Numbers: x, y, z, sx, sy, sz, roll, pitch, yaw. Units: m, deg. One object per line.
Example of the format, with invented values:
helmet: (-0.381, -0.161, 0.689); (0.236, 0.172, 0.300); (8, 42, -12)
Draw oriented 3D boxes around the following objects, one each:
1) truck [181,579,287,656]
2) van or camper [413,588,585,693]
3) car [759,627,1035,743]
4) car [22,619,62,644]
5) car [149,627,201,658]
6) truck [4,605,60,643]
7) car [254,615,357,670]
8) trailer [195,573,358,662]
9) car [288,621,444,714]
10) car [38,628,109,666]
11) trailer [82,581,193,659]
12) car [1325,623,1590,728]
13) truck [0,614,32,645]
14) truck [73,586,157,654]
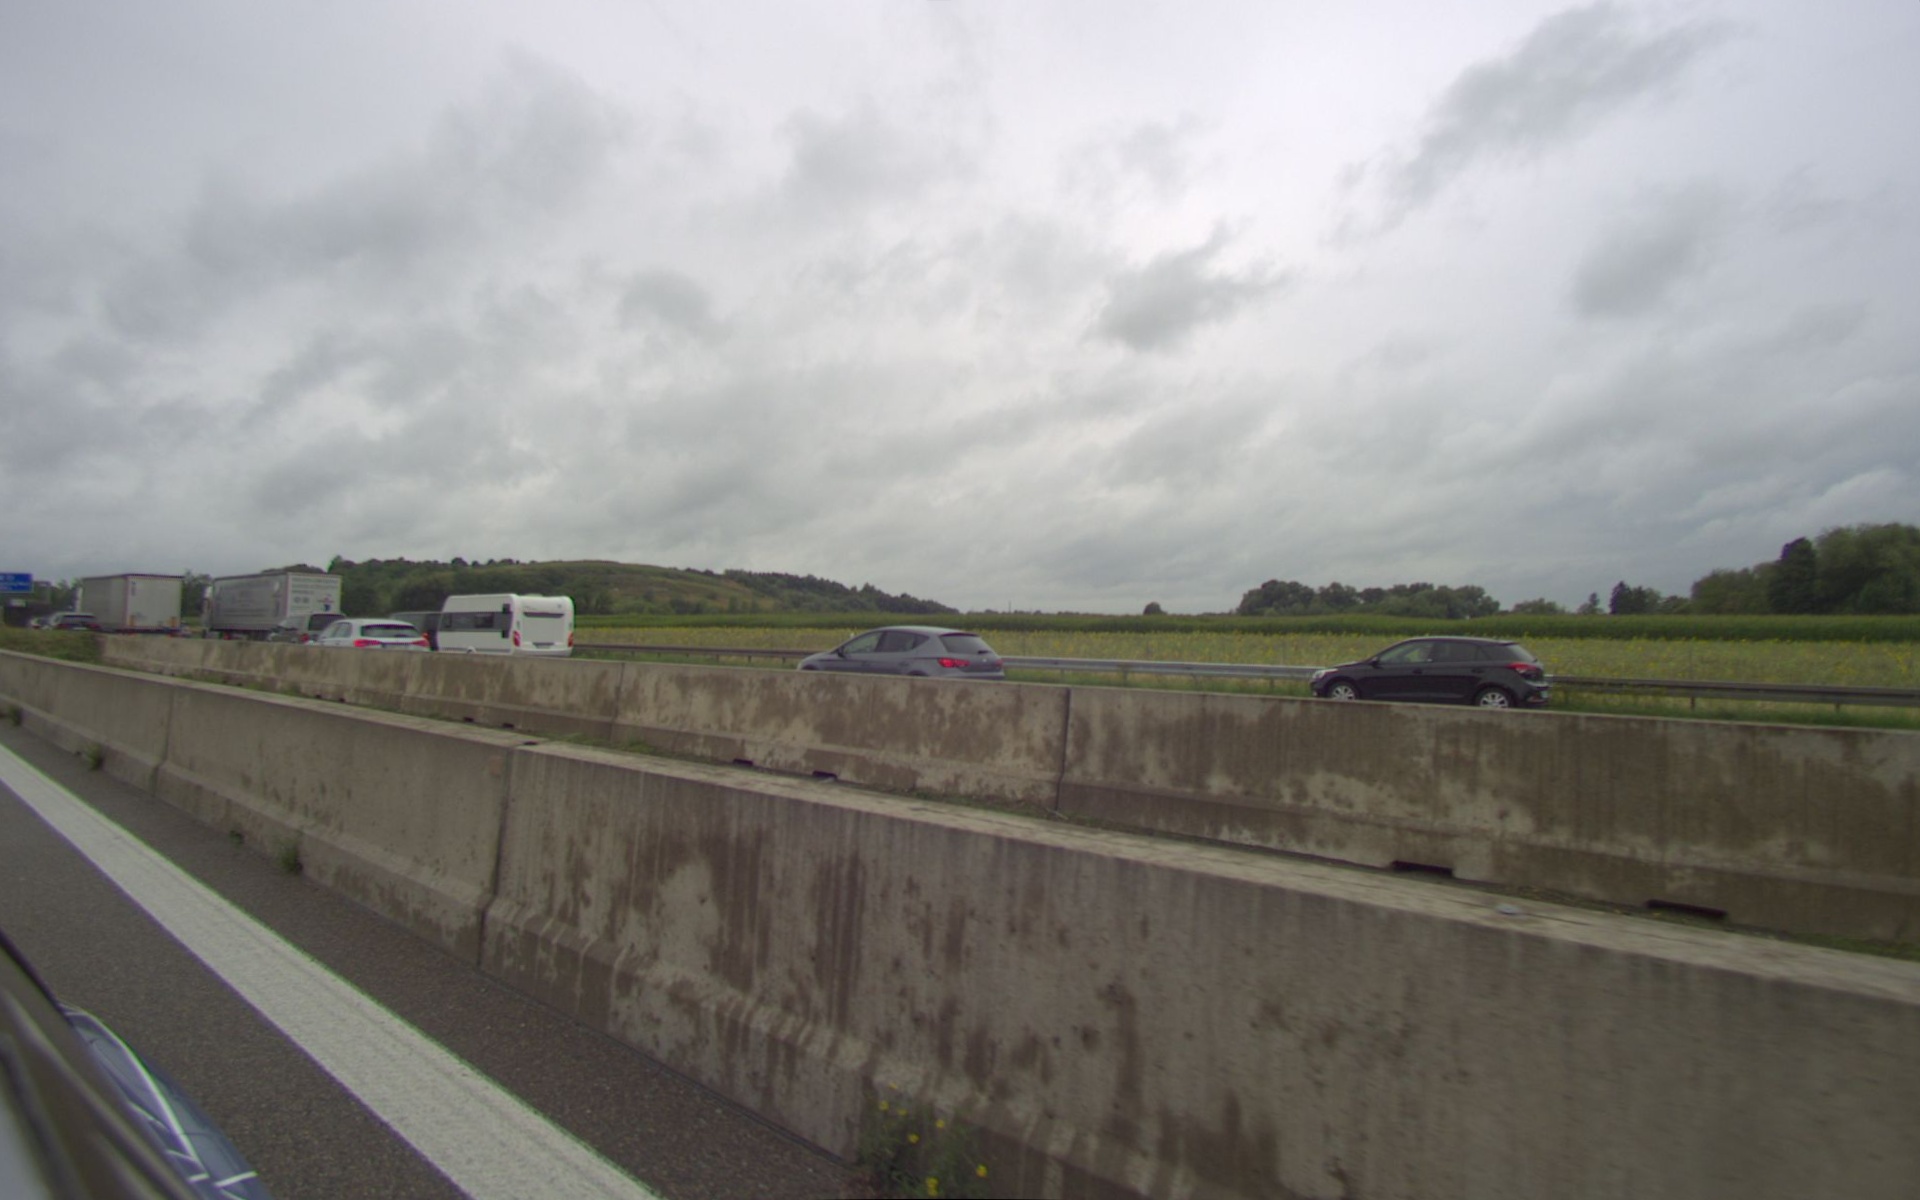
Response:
truck: (-43.786, 0.979, 60.976); (7.588, 4.306, 3.577); (-1, 0, 42)
van or camper: (-17.354, 1.401, 37.843); (7.692, 3.529, 2.682); (-1, 0, 39)
car: (-1.220, 1.364, 17.797); (4.797, 1.723, 2.040); (-1, -1, 41)
car: (-76.081, 2.581, 83.831); (4.359, 2.029, 1.972); (-1, -2, 42)
car: (-53.022, 2.821, 68.346); (4.619, 2.029, 1.972); (-1, -2, 42)
truck: (-115.259, 2.898, 125.621); (11.777, 4.517, 3.477); (-1, 0, 40)
car: (-24.758, 1.569, 38.198); (5.275, 1.939, 1.863); (-1, -2, 41)
trailer: (-38.068, 0.882, 55.893); (15.618, 4.303, 3.674); (-1, 0, 42)
car: (-13.697, 1.466, 23.246); (4.171, 1.939, 1.863); (-1, -2, 41)
car: (-43.898, 2.272, 50.081); (5.069, 1.778, 1.973); (-1, -2, 41)
trailer: (-48.320, 1.092, 59.233); (12.325, 4.119, 3.053); (-1, 0, 42)
car: (8.976, 1.266, 18.403); (3.996, 1.607, 1.866); (-1, 0, 40)
truck: (-93.586, 2.864, 99.754); (7.421, 2.930, 2.287); (-1, 0, 42)
truck: (-53.009, 1.186, 63.448); (6.369, 4.005, 3.060); (-1, 0, 42)
